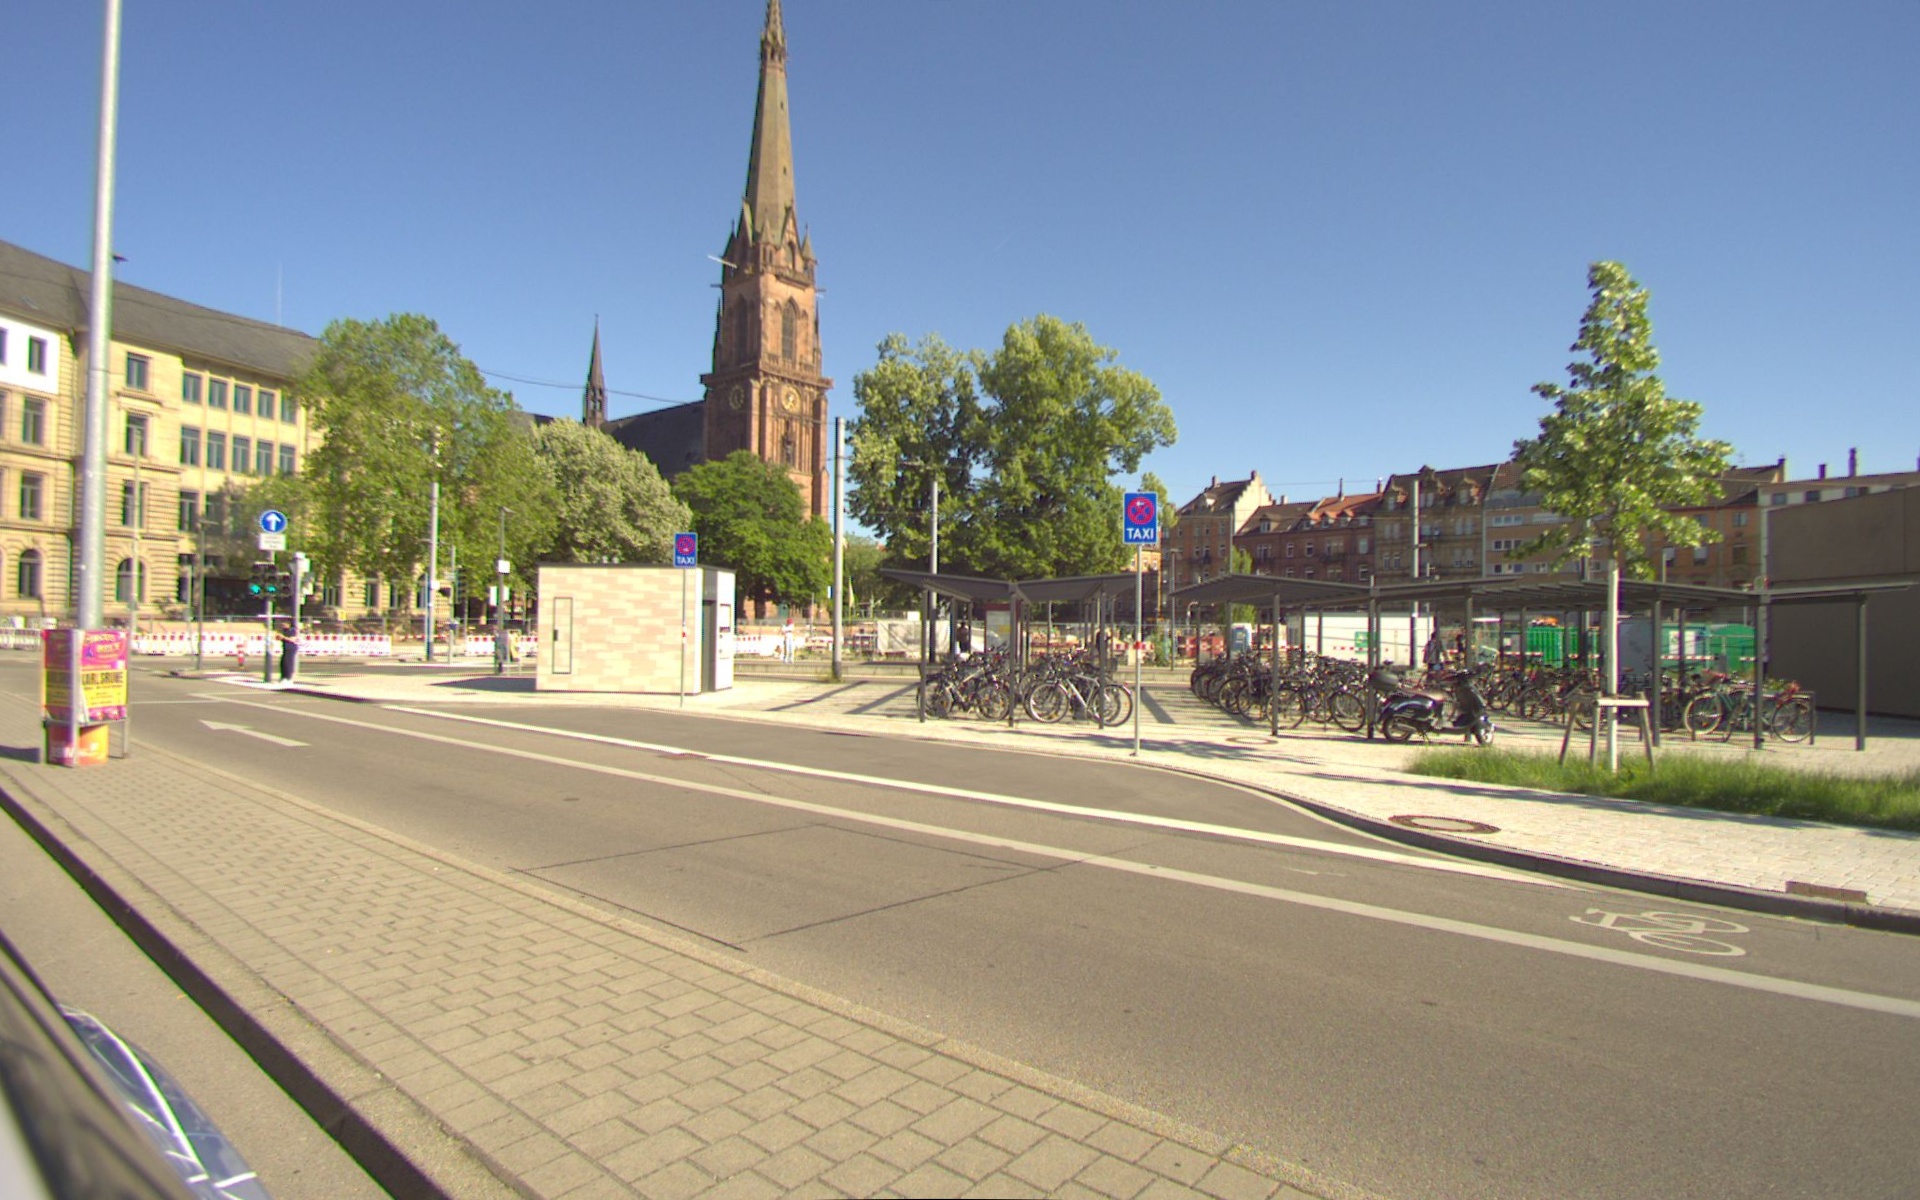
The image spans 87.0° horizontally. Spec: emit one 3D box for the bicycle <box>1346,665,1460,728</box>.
[{"bbox_3d":[7.913,1.710,18.103,1.765,1.046,0.567,1,-3,4],"label":"bicycle"}]

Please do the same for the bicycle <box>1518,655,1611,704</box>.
[{"bbox_3d":[13.881,1.820,23.275,1.765,1.046,0.567,1,-3,4],"label":"bicycle"}]

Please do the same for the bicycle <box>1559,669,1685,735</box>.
[{"bbox_3d":[11.447,1.756,17.536,1.765,1.046,0.567,1,-3,4],"label":"bicycle"}]

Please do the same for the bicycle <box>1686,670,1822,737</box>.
[{"bbox_3d":[13.381,1.728,17.084,1.765,1.046,0.567,1,-3,4],"label":"bicycle"}]

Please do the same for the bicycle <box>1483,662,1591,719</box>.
[{"bbox_3d":[11.281,1.768,19.824,1.765,1.046,0.567,1,-3,4],"label":"bicycle"}]

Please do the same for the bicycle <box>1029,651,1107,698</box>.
[{"bbox_3d":[2.506,1.727,23.554,1.765,1.046,0.567,1,-3,4],"label":"bicycle"}]

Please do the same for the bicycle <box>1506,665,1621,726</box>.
[{"bbox_3d":[11.207,1.769,18.828,1.765,1.046,0.567,1,-3,4],"label":"bicycle"}]

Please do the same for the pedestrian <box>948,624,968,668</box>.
[{"bbox_3d":[-0.075,1.764,39.099,0.518,1.667,0.559,-1,0,41],"label":"pedestrian"}]

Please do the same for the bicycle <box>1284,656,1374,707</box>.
[{"bbox_3d":[8.143,1.788,22.362,1.765,1.046,0.567,1,-3,4],"label":"bicycle"}]

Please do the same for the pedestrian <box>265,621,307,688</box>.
[{"bbox_3d":[-17.587,1.398,26.411,0.648,1.693,0.779,-1,0,42],"label":"pedestrian"}]

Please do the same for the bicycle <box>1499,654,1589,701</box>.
[{"bbox_3d":[13.826,1.821,23.990,1.765,1.046,0.567,1,-3,4],"label":"bicycle"}]

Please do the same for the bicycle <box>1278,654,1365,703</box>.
[{"bbox_3d":[8.192,1.780,22.965,1.765,1.046,0.567,1,-3,4],"label":"bicycle"}]

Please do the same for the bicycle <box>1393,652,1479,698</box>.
[{"bbox_3d":[11.371,1.786,24.218,1.765,1.046,0.567,1,-3,4],"label":"bicycle"}]

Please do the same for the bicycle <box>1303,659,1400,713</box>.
[{"bbox_3d":[8.057,1.771,20.880,1.765,1.046,0.567,1,-3,4],"label":"bicycle"}]

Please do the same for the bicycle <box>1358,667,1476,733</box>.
[{"bbox_3d":[7.888,1.716,17.499,1.765,1.046,0.567,1,-3,4],"label":"bicycle"}]

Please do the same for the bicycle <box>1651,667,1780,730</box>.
[{"bbox_3d":[13.587,1.755,18.250,1.769,1.046,0.566,1,-3,12],"label":"bicycle"}]

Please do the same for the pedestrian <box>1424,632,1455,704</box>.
[{"bbox_3d":[11.787,1.659,24.862,0.616,1.736,0.674,-1,-2,32],"label":"pedestrian"}]

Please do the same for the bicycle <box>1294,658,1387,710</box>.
[{"bbox_3d":[8.107,1.788,21.598,1.765,1.046,0.567,1,-3,4],"label":"bicycle"}]

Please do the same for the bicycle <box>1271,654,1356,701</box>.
[{"bbox_3d":[8.235,1.800,23.597,1.765,1.046,0.567,1,-3,4],"label":"bicycle"}]

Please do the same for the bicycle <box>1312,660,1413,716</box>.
[{"bbox_3d":[8.015,1.750,20.170,1.765,1.046,0.567,1,-3,4],"label":"bicycle"}]

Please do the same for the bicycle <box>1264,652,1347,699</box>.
[{"bbox_3d":[8.266,1.799,24.235,1.765,1.046,0.567,1,-3,4],"label":"bicycle"}]

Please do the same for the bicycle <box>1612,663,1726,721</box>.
[{"bbox_3d":[13.791,1.774,19.705,1.765,1.046,0.567,1,-3,4],"label":"bicycle"}]

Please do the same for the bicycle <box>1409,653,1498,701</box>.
[{"bbox_3d":[11.440,1.789,23.505,1.765,1.046,0.567,1,-3,4],"label":"bicycle"}]

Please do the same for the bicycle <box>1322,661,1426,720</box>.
[{"bbox_3d":[7.955,1.733,19.483,1.765,1.046,0.567,1,-3,4],"label":"bicycle"}]

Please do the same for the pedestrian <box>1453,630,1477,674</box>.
[{"bbox_3d":[17.655,1.807,35.409,0.581,1.530,0.559,1,-2,6],"label":"pedestrian"}]

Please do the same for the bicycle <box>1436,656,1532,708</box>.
[{"bbox_3d":[11.428,1.781,22.090,1.765,1.046,0.567,1,-3,4],"label":"bicycle"}]

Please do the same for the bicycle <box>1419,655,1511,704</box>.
[{"bbox_3d":[11.407,1.795,22.884,1.765,1.046,0.567,1,-3,4],"label":"bicycle"}]

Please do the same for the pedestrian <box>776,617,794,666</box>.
[{"bbox_3d":[-6.463,1.538,37.416,0.529,1.736,0.684,0,-6,-19],"label":"pedestrian"}]

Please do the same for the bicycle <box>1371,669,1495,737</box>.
[{"bbox_3d":[7.845,1.695,16.836,1.765,1.046,0.567,1,-3,4],"label":"bicycle"}]

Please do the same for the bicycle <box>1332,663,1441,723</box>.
[{"bbox_3d":[7.923,1.718,18.847,1.765,1.046,0.567,1,-3,4],"label":"bicycle"}]

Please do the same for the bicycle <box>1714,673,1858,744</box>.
[{"bbox_3d":[13.154,1.722,16.150,1.765,1.046,0.567,1,-3,4],"label":"bicycle"}]

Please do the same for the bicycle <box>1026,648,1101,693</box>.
[{"bbox_3d":[2.524,1.719,24.813,1.765,1.046,0.567,1,-3,4],"label":"bicycle"}]

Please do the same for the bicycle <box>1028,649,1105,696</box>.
[{"bbox_3d":[2.531,1.721,24.181,1.765,1.046,0.567,1,-3,4],"label":"bicycle"}]

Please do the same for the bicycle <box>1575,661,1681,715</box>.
[{"bbox_3d":[13.839,1.821,20.989,1.765,1.046,0.567,1,-3,4],"label":"bicycle"}]

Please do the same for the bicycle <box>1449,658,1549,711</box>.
[{"bbox_3d":[11.367,1.767,21.373,1.765,1.046,0.567,1,-3,4],"label":"bicycle"}]
